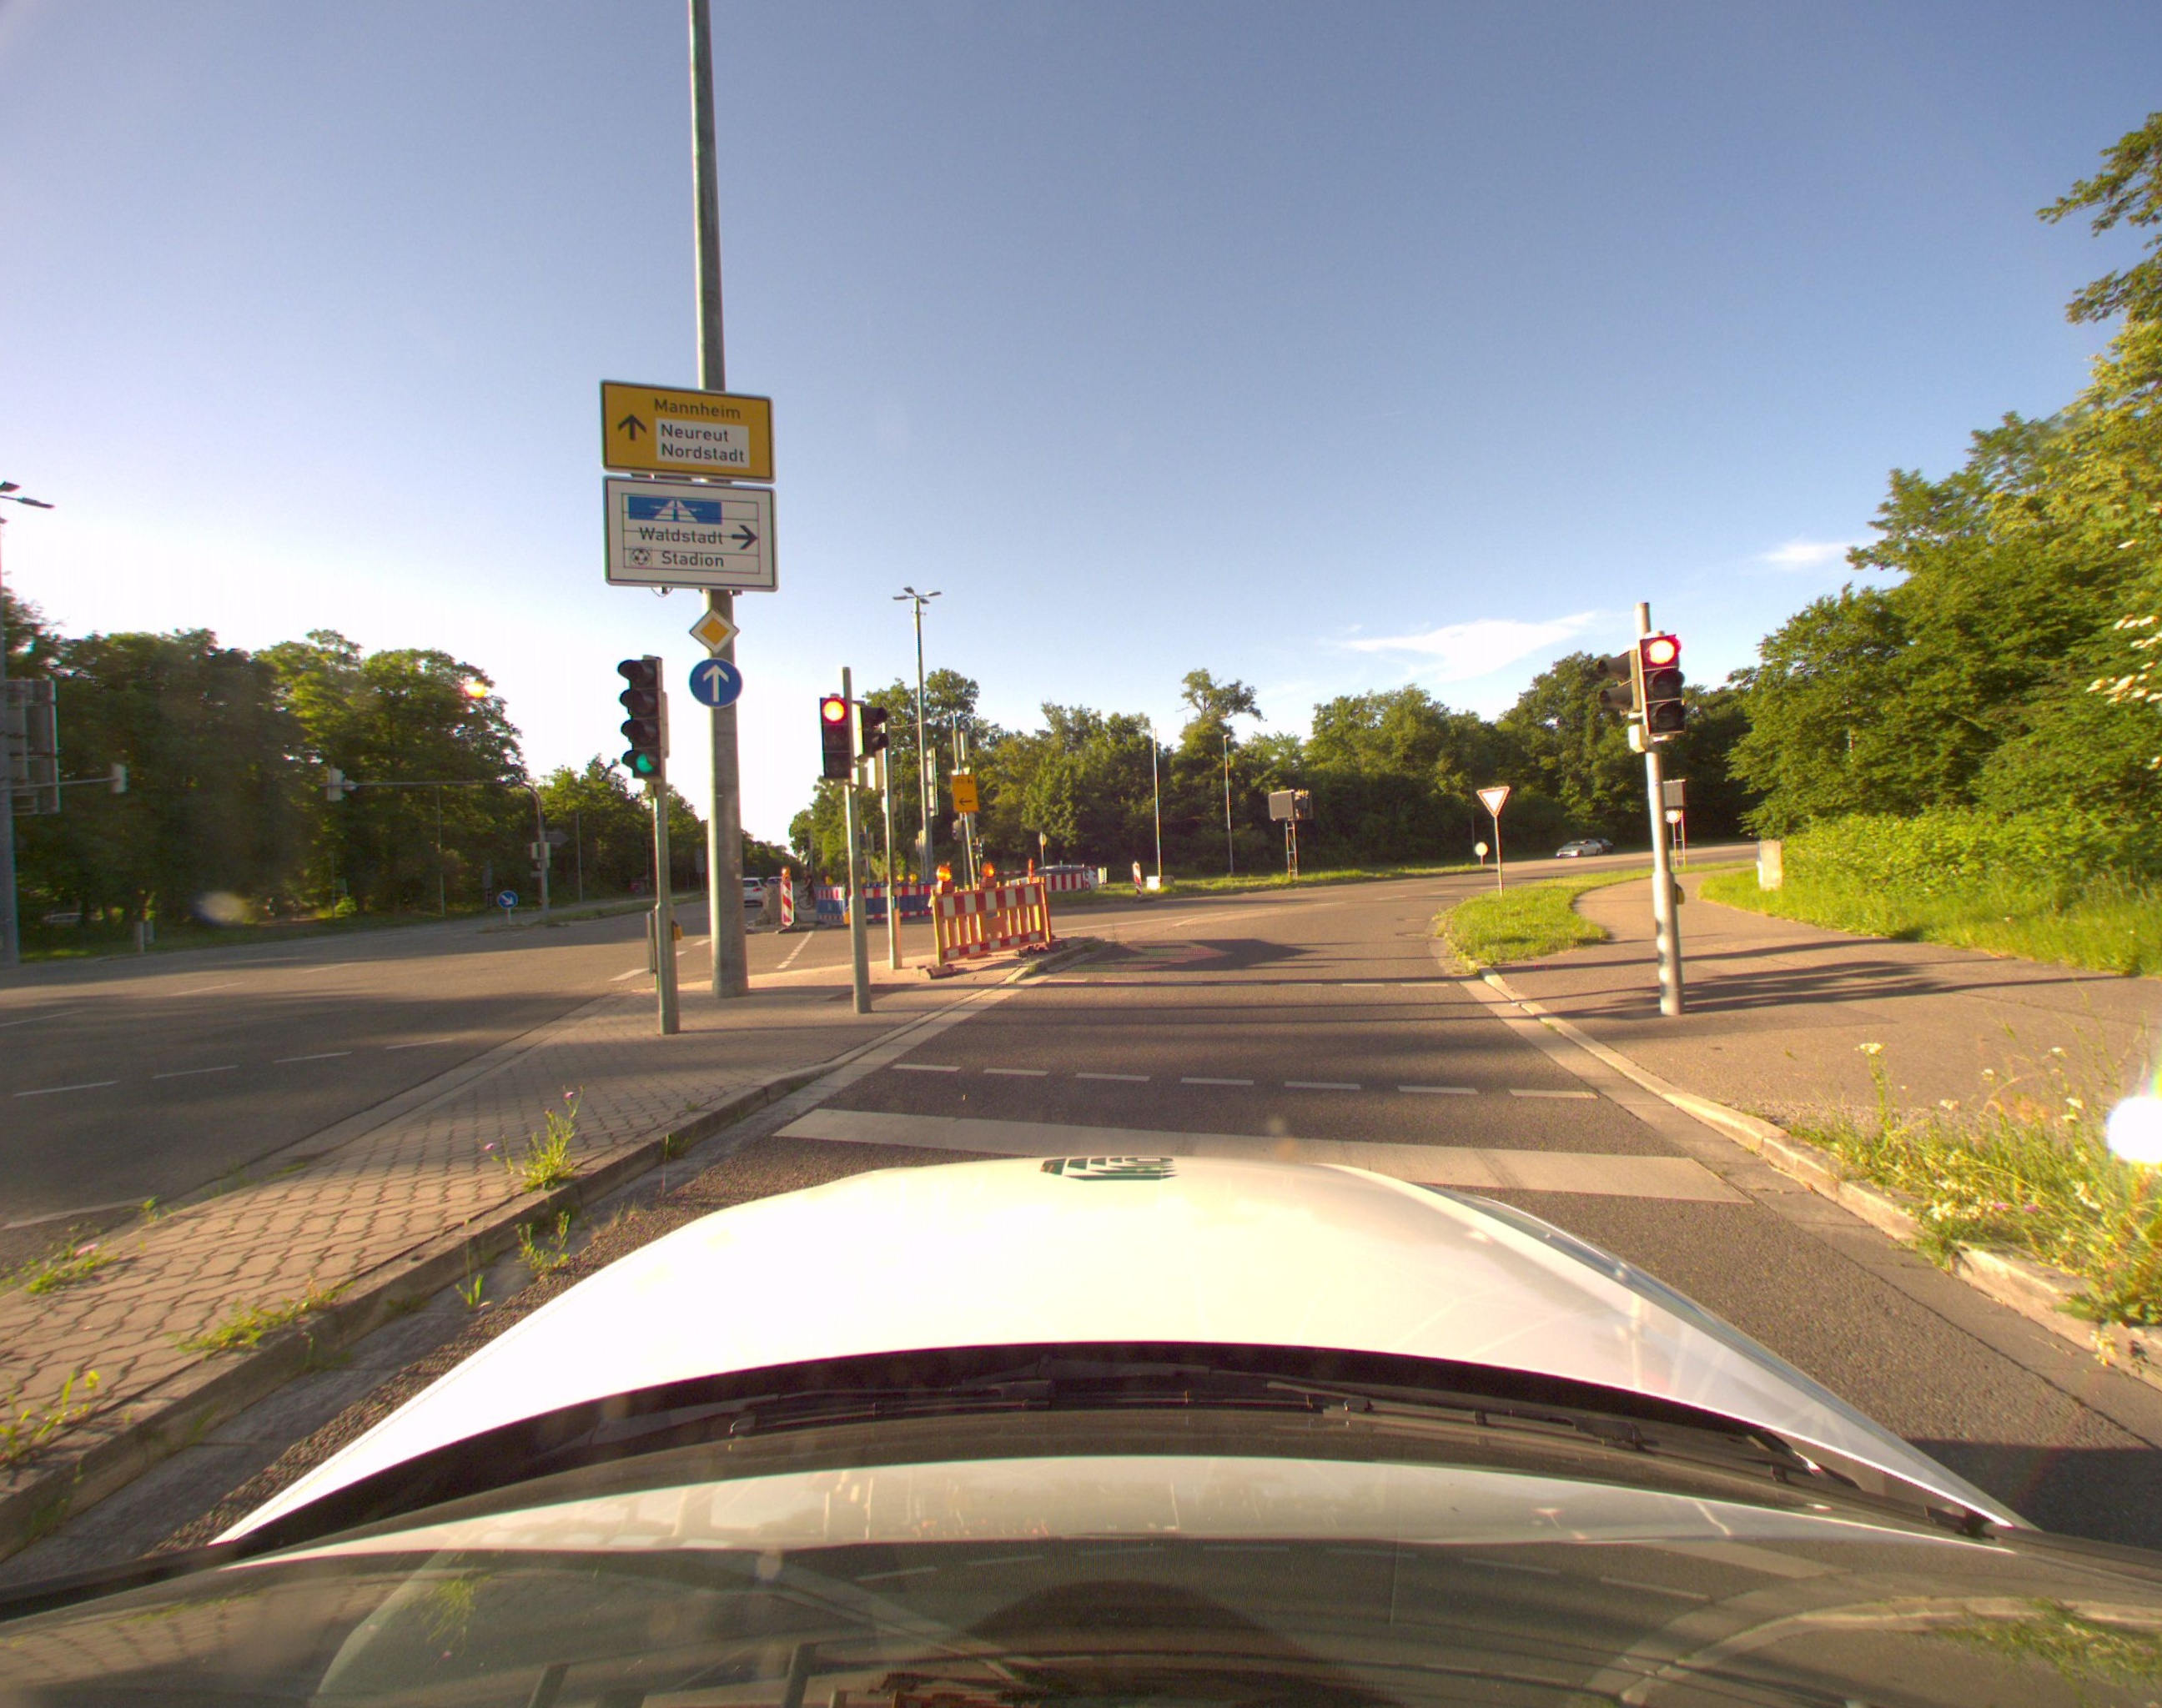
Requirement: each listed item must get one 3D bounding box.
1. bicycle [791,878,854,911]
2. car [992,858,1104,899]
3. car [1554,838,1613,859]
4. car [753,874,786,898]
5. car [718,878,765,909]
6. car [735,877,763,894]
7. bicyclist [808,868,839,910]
[{"bbox_3d":[-12.033,1.864,38.051,0.956,1.383,2.656,-3,-1,43],"label":"bicycle"},{"bbox_3d":[-1.479,1.119,37.552,4.856,1.580,1.977,-2,-1,-37],"label":"car"},{"bbox_3d":[40.487,-0.457,65.602,4.822,1.436,1.980,-3,-1,-30],"label":"car"},{"bbox_3d":[-22.364,2.282,58.575,2.000,1.536,3.973,-3,-1,-19],"label":"car"},{"bbox_3d":[-17.651,2.011,42.522,1.946,1.414,3.973,-3,-1,-19],"label":"car"},{"bbox_3d":[-30.537,2.877,74.920,1.867,1.444,3.979,-2,-1,-15],"label":"car"},{"bbox_3d":[-12.042,1.617,38.065,0.956,1.930,1.022,-3,-1,43],"label":"bicyclist"}]
